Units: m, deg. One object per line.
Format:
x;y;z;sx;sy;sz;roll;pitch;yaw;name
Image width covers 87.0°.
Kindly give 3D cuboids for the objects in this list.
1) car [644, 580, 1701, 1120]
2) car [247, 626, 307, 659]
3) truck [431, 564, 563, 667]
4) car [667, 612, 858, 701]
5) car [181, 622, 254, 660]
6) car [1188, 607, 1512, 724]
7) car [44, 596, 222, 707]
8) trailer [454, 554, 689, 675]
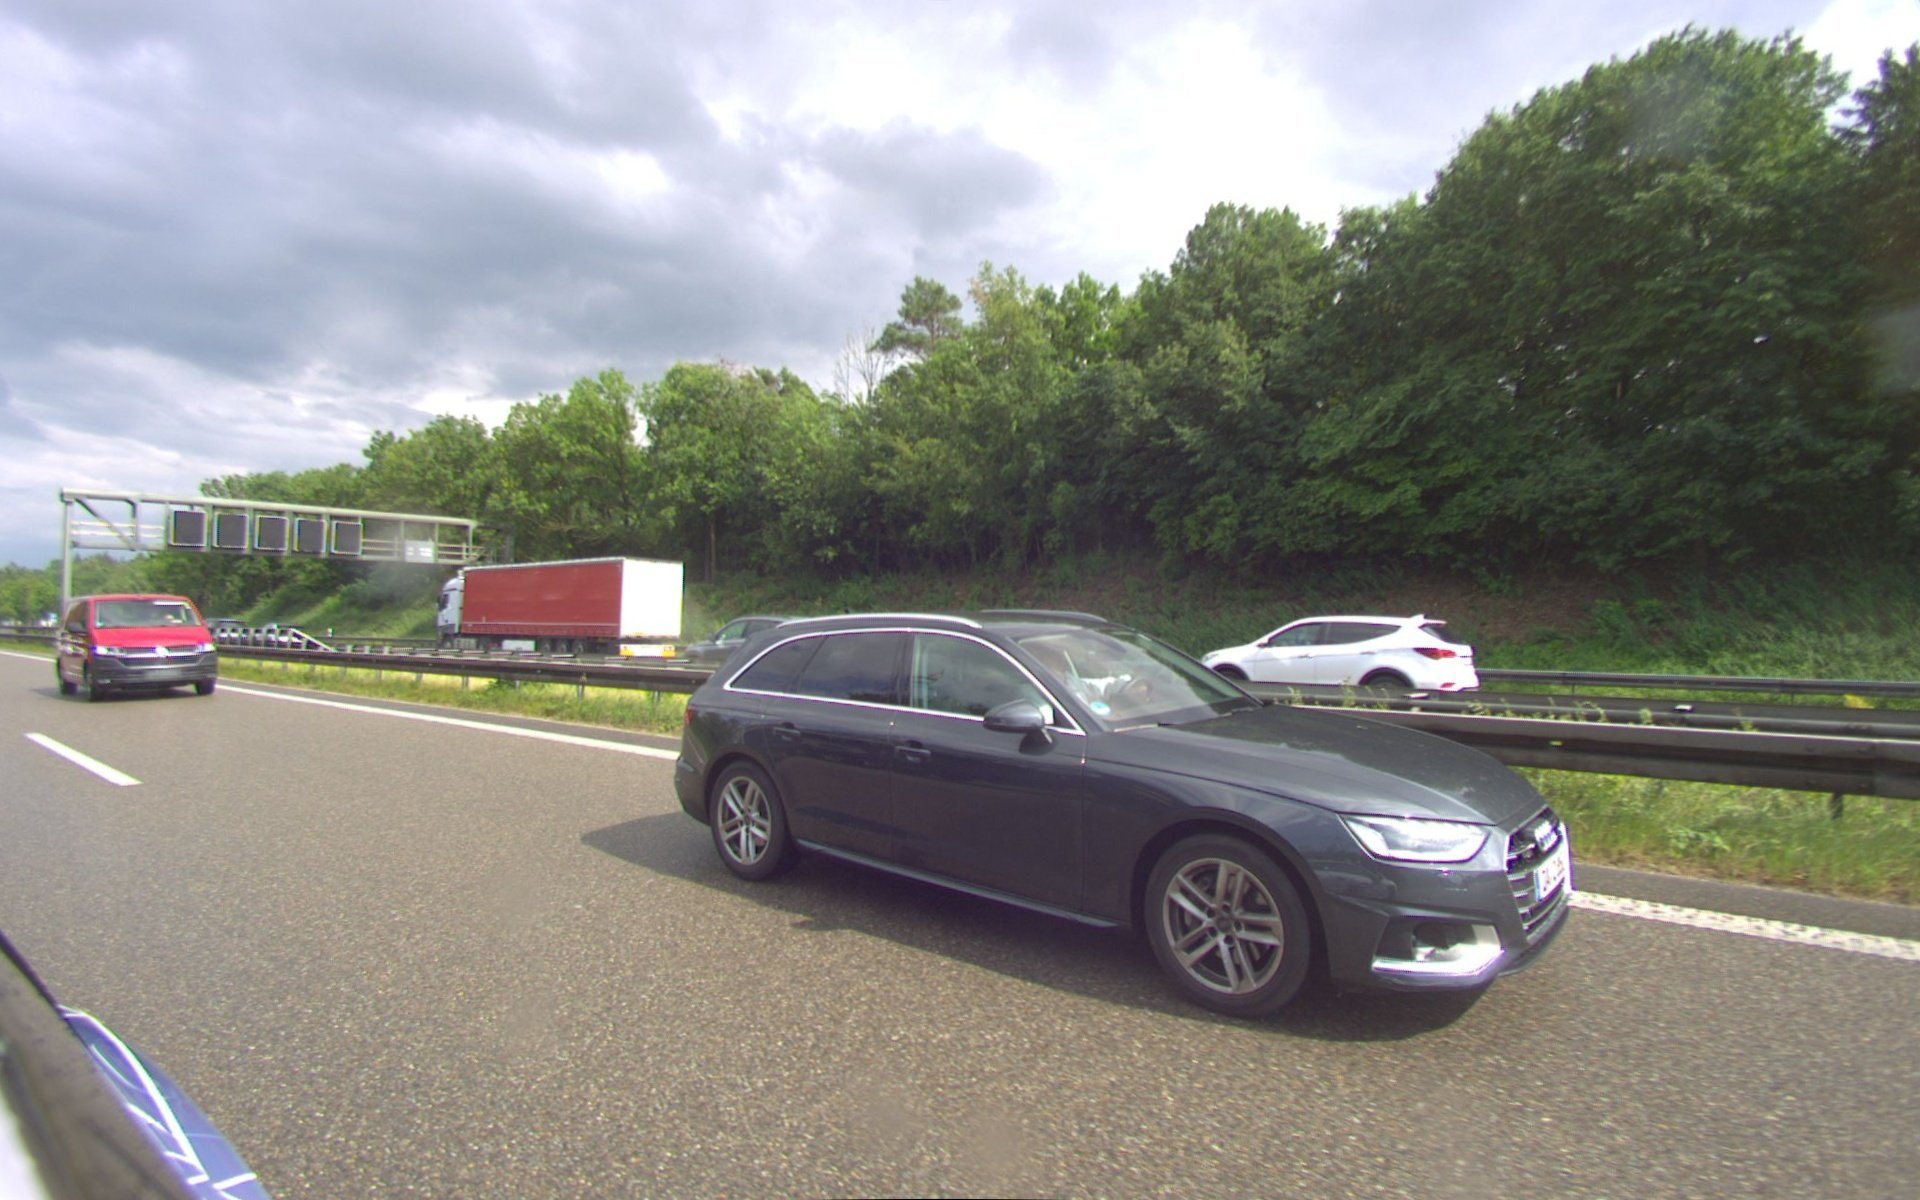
0.552;0.684;4.964;4.837;1.429;1.775;-1;0;42;car
-37.630;2.314;55.756;4.233;1.675;1.682;-1;0;41;car
-21.287;0.682;46.375;6.864;4.406;2.834;-1;0;41;truck
-4.255;1.115;21.427;4.233;1.675;1.714;-1;0;41;car
-35.212;1.886;47.974;4.438;1.675;1.819;-1;0;41;car
6.440;0.988;17.041;4.695;1.675;1.996;-1;0;41;car
-16.020;0.904;19.503;4.837;1.880;1.902;-1;0;42;car
-16.675;0.605;42.409;14.083;4.406;2.834;-1;0;41;trailer
